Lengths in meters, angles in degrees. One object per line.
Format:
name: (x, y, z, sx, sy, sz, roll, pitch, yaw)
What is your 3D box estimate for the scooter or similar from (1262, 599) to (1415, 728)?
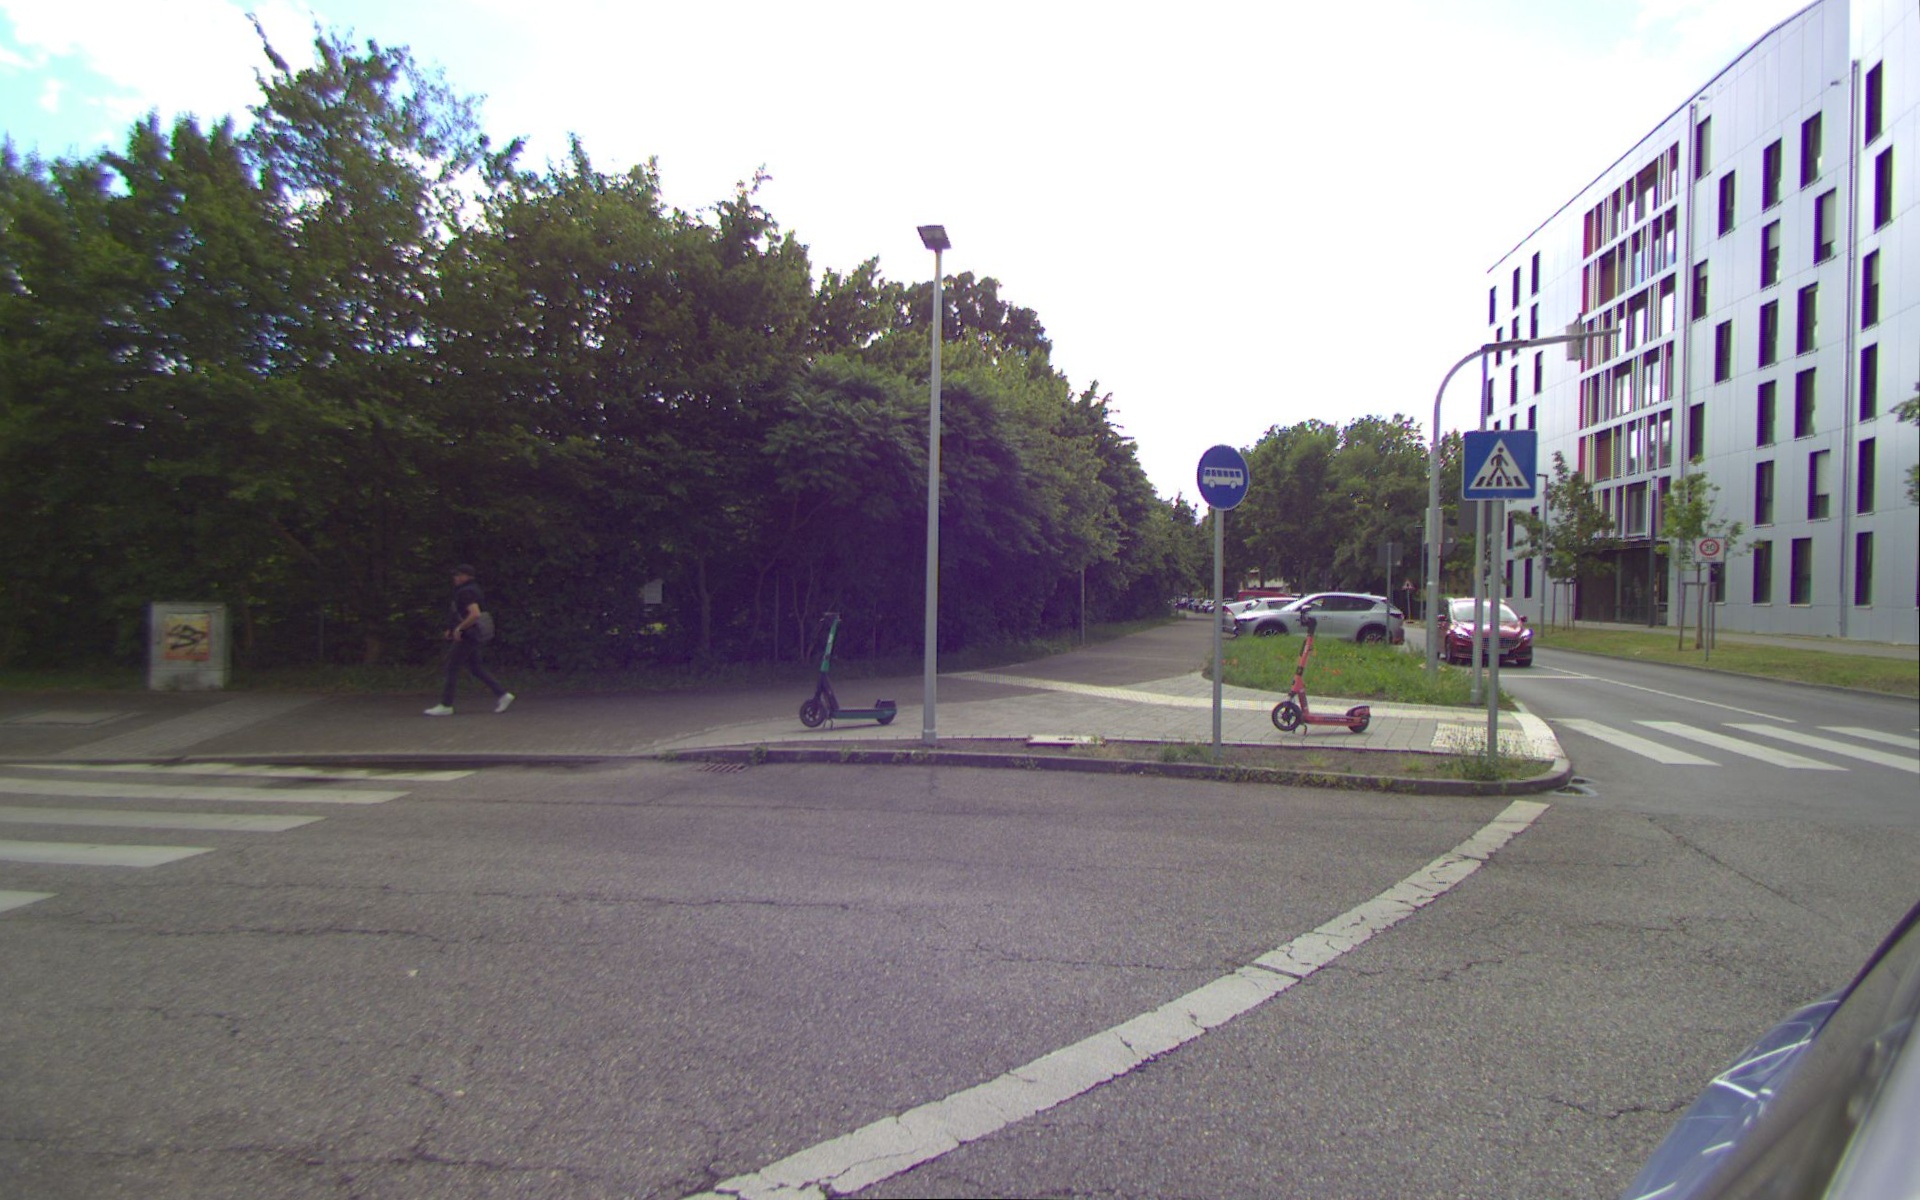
scooter or similar: (4.083, 0.664, 10.931, 1.493, 1.329, 0.573, 0, 0, -15)

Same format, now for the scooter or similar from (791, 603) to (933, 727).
scooter or similar: (-1.104, 0.698, 11.452, 1.465, 1.291, 0.622, -1, 1, -30)

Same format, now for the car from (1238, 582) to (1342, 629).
car: (14.601, 0.221, 45.066, 4.233, 1.916, 1.829, 2, 0, 15)

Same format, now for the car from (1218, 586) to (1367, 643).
car: (10.767, 0.452, 33.070, 4.427, 1.582, 1.903, 3, 1, 15)

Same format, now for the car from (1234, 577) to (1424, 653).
car: (10.060, 0.378, 27.965, 4.593, 1.774, 2.062, 3, 0, 13)

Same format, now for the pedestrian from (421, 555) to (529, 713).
pedestrian: (-5.886, 0.396, 12.339, 0.964, 1.845, 0.858, 1, 0, -8)

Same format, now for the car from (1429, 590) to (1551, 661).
car: (13.375, 0.573, 25.813, 1.907, 1.652, 4.221, -1, 0, 16)

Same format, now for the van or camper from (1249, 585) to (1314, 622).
van or camper: (21.179, 0.241, 66.888, 3.924, 2.349, 1.875, -1, -1, 15)

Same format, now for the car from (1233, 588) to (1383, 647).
car: (10.449, 0.502, 30.695, 4.108, 1.606, 1.788, 2, 0, 15)

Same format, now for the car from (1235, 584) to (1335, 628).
car: (16.059, 0.277, 50.235, 4.500, 1.923, 1.875, 3, 1, 15)
